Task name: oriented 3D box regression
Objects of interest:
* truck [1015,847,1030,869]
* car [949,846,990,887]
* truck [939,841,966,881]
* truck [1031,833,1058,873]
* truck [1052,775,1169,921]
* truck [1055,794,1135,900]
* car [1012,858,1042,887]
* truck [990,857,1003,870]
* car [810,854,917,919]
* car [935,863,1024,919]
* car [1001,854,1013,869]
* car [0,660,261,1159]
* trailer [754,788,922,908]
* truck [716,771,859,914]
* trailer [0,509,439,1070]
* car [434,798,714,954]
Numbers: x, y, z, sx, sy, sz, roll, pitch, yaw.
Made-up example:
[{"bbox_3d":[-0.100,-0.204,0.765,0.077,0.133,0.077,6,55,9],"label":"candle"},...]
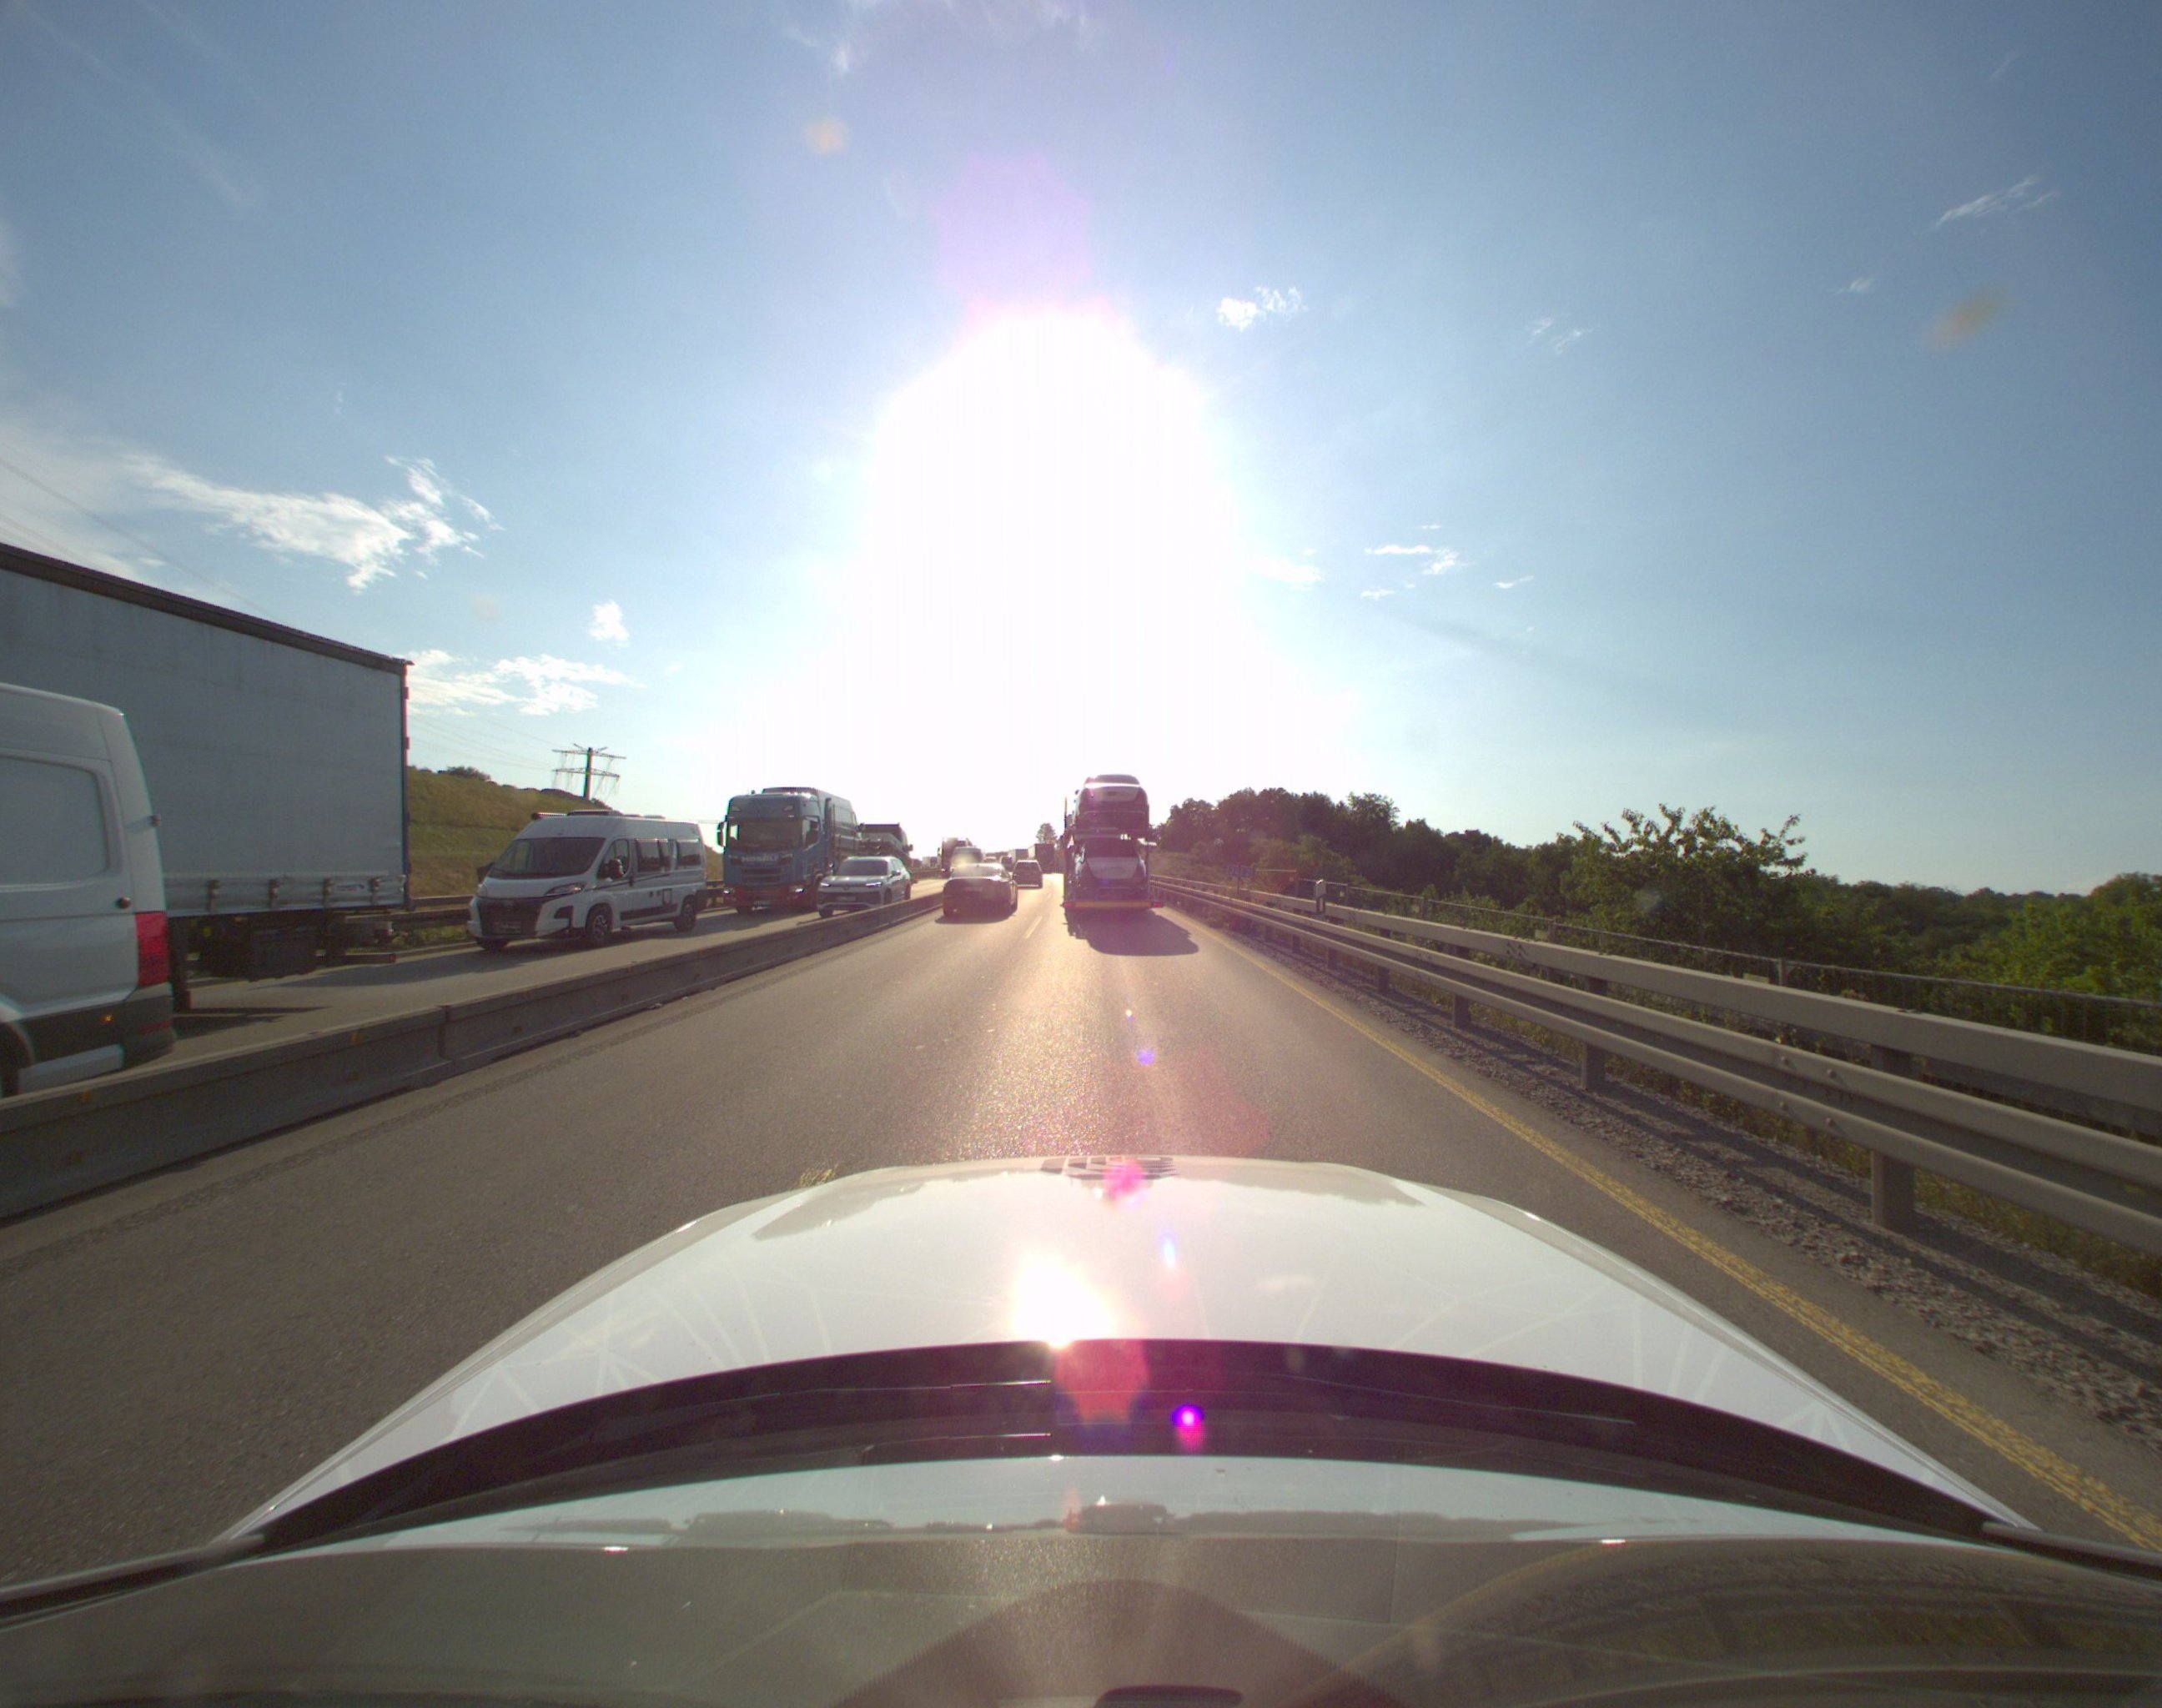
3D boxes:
[{"bbox_3d":[-10.484,0.739,146.384,2.527,3.648,8.889,-1,-1,-5],"label":"truck"},{"bbox_3d":[-7.178,0.786,53.186,2.100,2.482,6.060,-1,-1,-3],"label":"car"},{"bbox_3d":[-12.694,0.725,81.253,2.312,3.607,11.940,-1,-1,-7],"label":"truck"},{"bbox_3d":[-5.147,-0.108,111.964,3.281,5.237,9.917,-1,-1,-5],"label":"truck"},{"bbox_3d":[0.647,-0.109,25.094,2.791,3.497,10.600,-1,-1,-1],"label":"truck"},{"bbox_3d":[0.501,-0.226,34.472,2.829,3.792,9.984,-1,-1,0],"label":"truck"},{"bbox_3d":[-3.140,1.038,47.733,1.688,1.596,3.995,-1,-1,-3],"label":"car"},{"bbox_3d":[-20.223,2.253,195.288,2.585,3.170,6.668,-1,-1,-3],"label":"truck"},{"bbox_3d":[-6.157,0.873,23.645,1.864,1.694,4.595,-1,-1,0],"label":"car"},{"bbox_3d":[-2.863,1.007,24.111,1.928,1.399,4.961,-1,0,1],"label":"car"},{"bbox_3d":[-12.219,1.233,134.354,1.918,2.492,5.397,-1,-1,-6],"label":"car"},{"bbox_3d":[-6.418,0.271,1.979,2.051,2.500,6.772,-1,-1,-1],"label":"car"},{"bbox_3d":[-9.454,-0.132,34.292,2.687,3.873,15.382,-1,-1,-1],"label":"trailer"},{"bbox_3d":[-9.250,-0.306,26.375,2.496,4.066,5.881,-1,-1,-1],"label":"truck"},{"bbox_3d":[-9.132,-0.493,2.692,2.299,4.130,14.601,-1,-1,1],"label":"trailer"},{"bbox_3d":[-9.702,0.390,16.357,2.151,2.558,5.586,-1,-1,-1],"label":"car"}]
